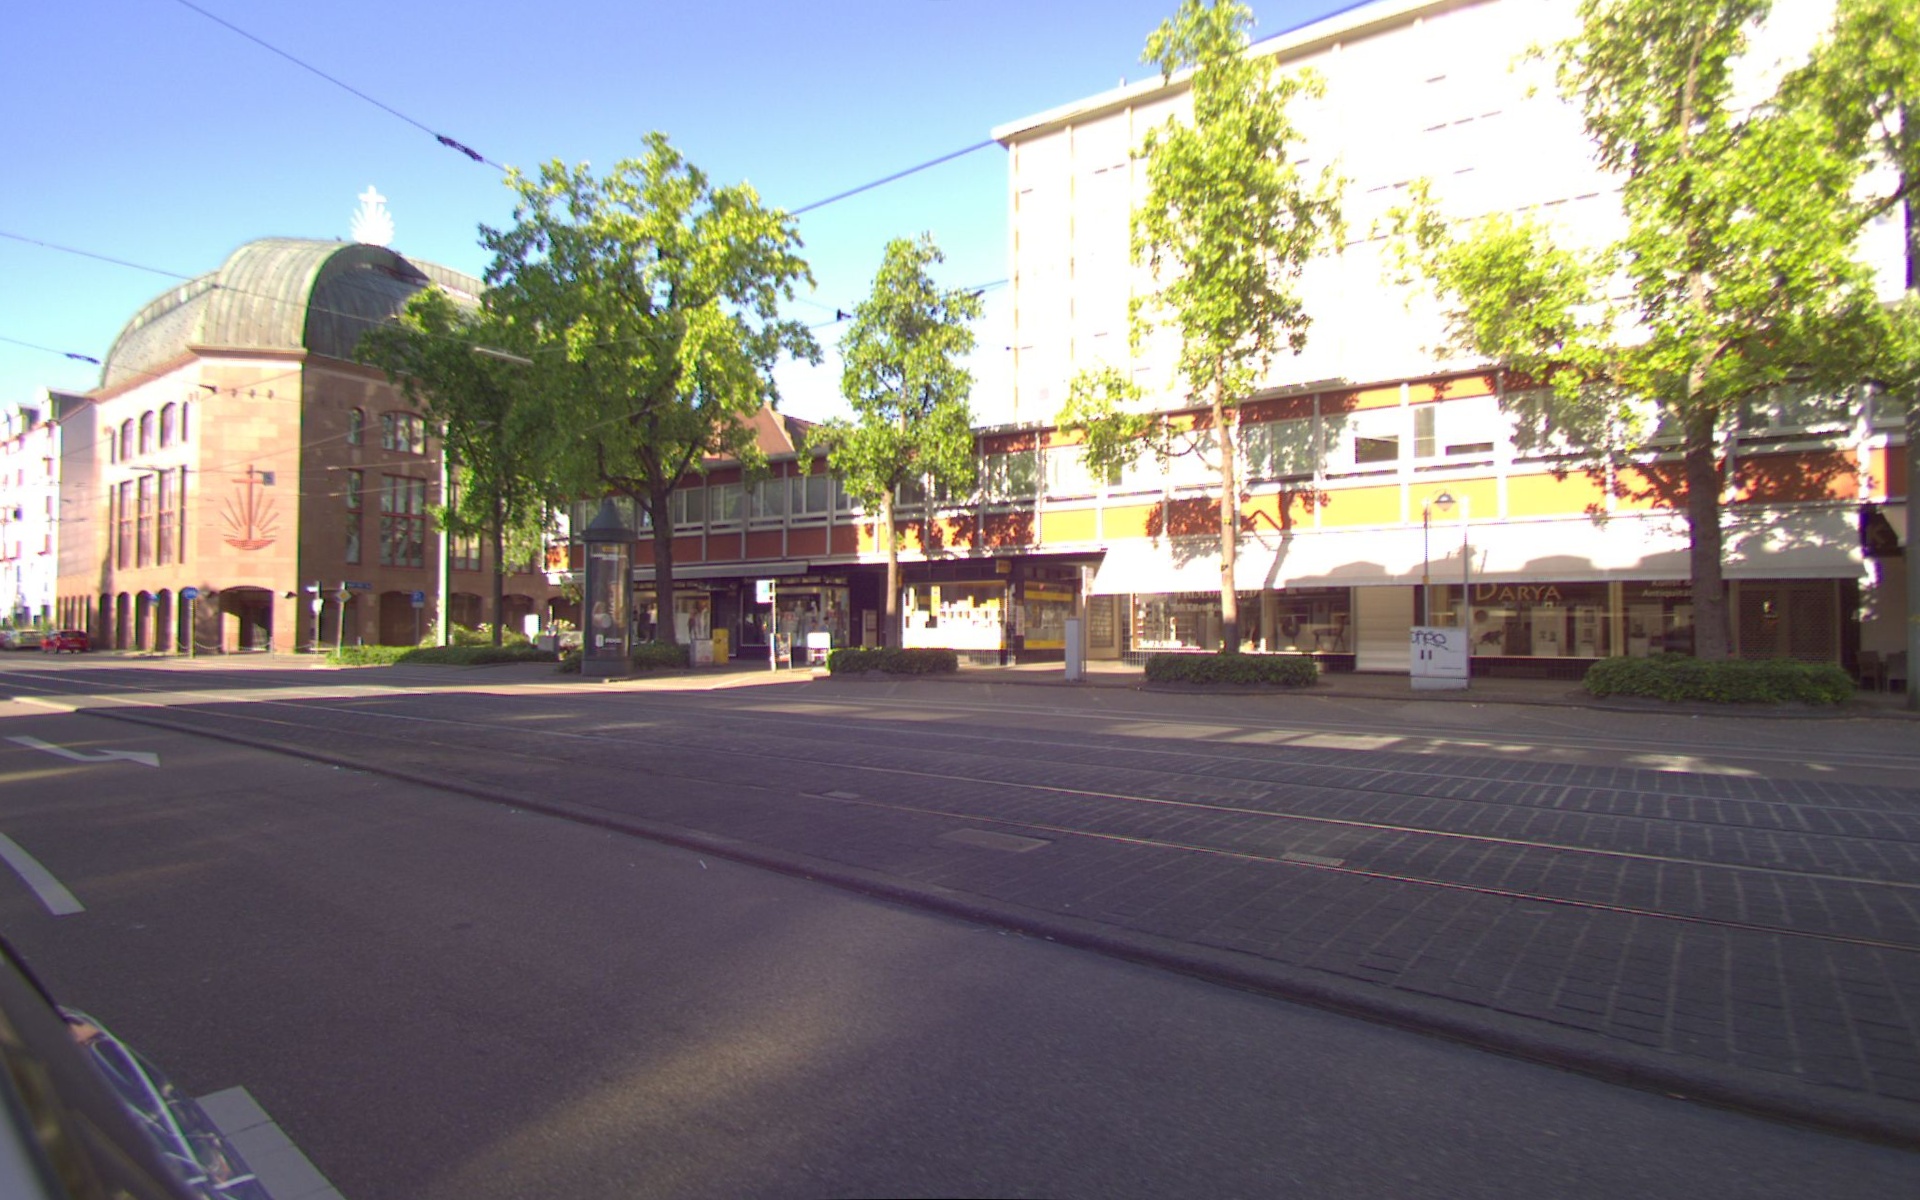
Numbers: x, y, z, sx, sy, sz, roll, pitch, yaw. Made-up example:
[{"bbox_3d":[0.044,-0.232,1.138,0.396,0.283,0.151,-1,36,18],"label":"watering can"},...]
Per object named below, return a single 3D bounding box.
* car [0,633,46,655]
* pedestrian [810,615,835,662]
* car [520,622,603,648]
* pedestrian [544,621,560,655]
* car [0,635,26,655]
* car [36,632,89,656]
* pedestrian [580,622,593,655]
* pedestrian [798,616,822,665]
[{"bbox_3d":[-64.181,2.972,69.194,3.846,1.465,1.834,-1,-2,37],"label":"car"},{"bbox_3d":[-5.150,1.440,37.910,0.705,1.764,0.567,-2,-3,37],"label":"pedestrian"},{"bbox_3d":[-23.750,2.105,60.462,1.996,1.542,4.223,-1,-3,36],"label":"car"},{"bbox_3d":[-19.521,1.828,48.404,0.440,1.604,0.722,3,-3,-44],"label":"pedestrian"},{"bbox_3d":[-68.179,3.171,72.057,3.846,1.364,1.834,-1,-2,37],"label":"car"},{"bbox_3d":[-56.358,2.728,63.565,3.463,1.465,1.734,-1,-2,35],"label":"car"},{"bbox_3d":[-18.272,1.894,49.519,0.439,1.604,0.724,2,-3,-28],"label":"pedestrian"},{"bbox_3d":[-5.538,1.500,37.391,0.705,1.785,0.567,-2,-3,37],"label":"pedestrian"}]
